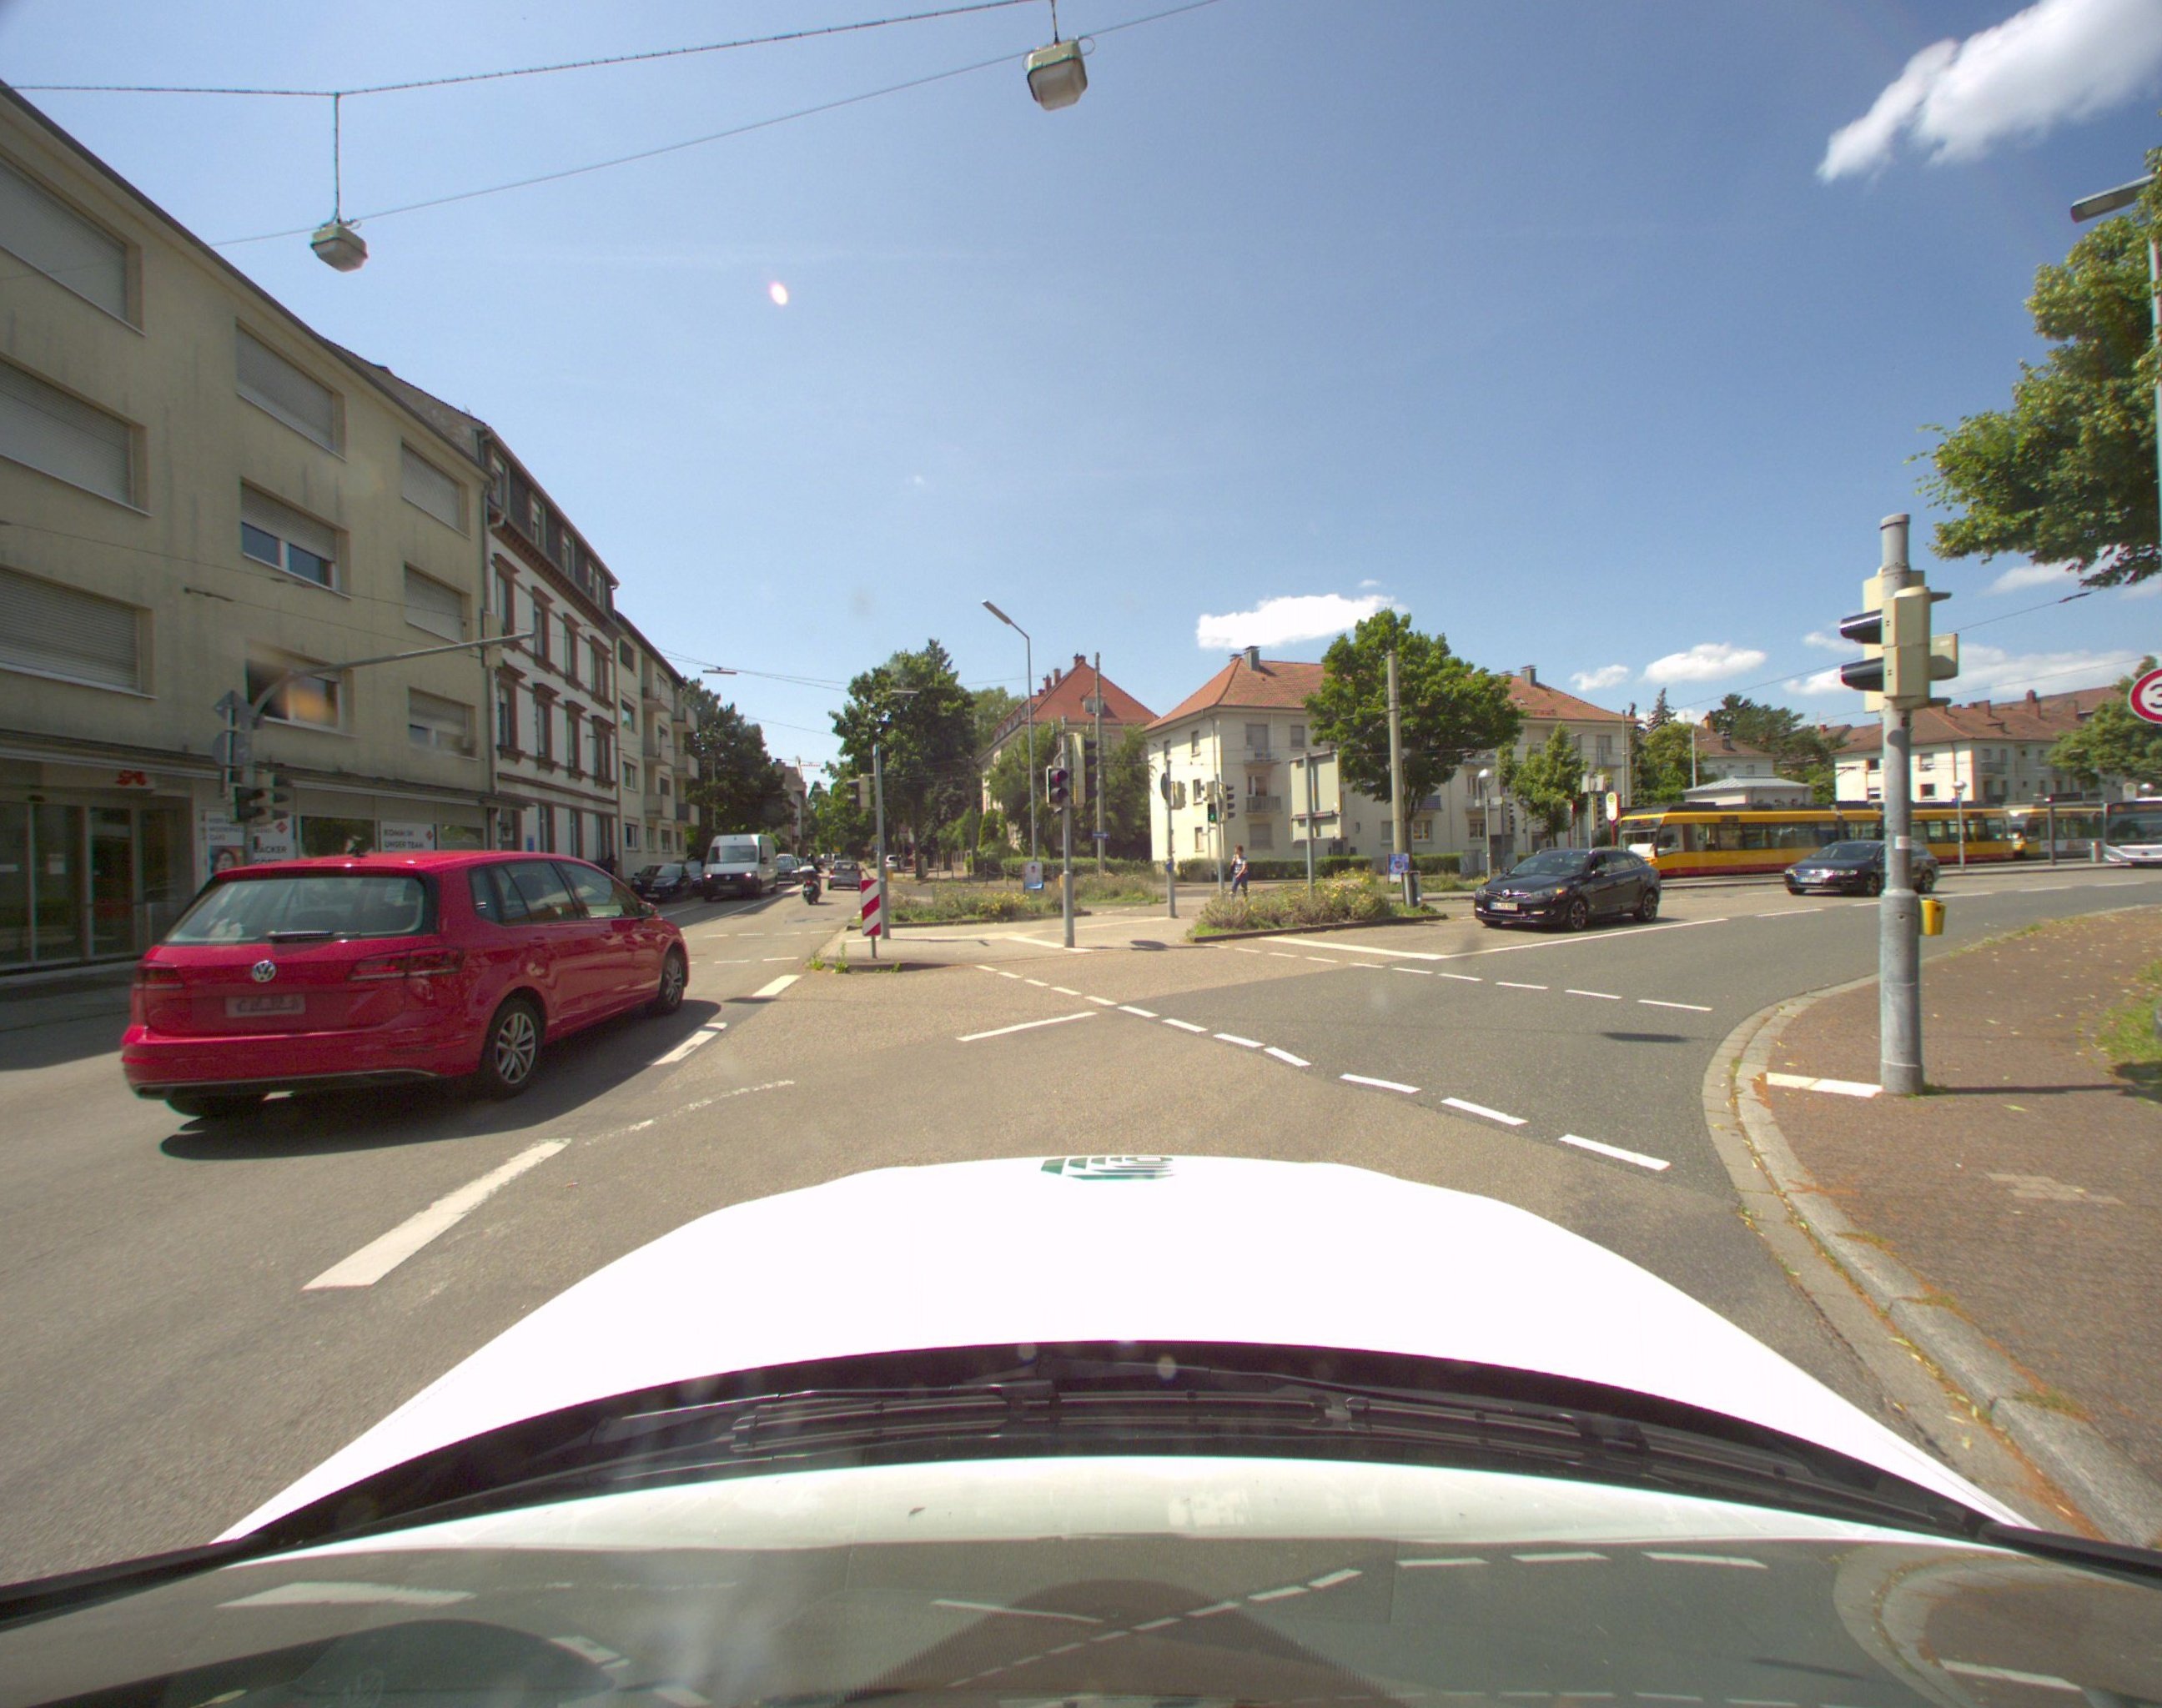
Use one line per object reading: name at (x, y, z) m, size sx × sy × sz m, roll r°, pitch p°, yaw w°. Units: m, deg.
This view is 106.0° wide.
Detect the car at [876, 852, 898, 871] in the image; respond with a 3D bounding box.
car at (-20.362, 0.770, 85.199) m, size 1.998 × 1.906 × 3.977 m, roll -1°, pitch 0°, yaw -17°

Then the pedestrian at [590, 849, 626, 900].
pedestrian at (-18.270, 0.774, 31.467) m, size 0.937 × 1.931 × 0.971 m, roll -1°, pitch 0°, yaw -17°

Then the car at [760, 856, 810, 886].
car at (-17.354, 0.982, 47.933) m, size 1.851 × 1.557 × 4.273 m, roll -3°, pitch 0°, yaw -8°

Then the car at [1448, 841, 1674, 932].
car at (9.400, 0.538, 15.866) m, size 4.441 × 1.500 × 1.980 m, roll -1°, pitch 0°, yaw -32°

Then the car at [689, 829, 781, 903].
car at (-13.889, 0.455, 33.238) m, size 2.220 × 2.501 × 7.515 m, roll -5°, pitch 1°, yaw -15°

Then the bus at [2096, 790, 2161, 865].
bus at (50.601, -1.240, 36.474) m, size 12.008 × 3.129 × 2.721 m, roll -1°, pitch 0°, yaw -20°

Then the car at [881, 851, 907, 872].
car at (-16.649, 0.673, 72.317) m, size 1.998 × 1.807 × 3.977 m, roll -1°, pitch 0°, yaw -17°

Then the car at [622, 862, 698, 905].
car at (-16.372, 1.111, 31.859) m, size 1.999 × 1.519 × 3.975 m, roll 0°, pitch -1°, yaw -18°

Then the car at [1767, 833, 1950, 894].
car at (21.589, 0.239, 22.616) m, size 4.514 × 1.519 × 1.986 m, roll -1°, pitch 0°, yaw -22°

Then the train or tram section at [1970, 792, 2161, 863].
train or tram section at (59.625, -1.617, 48.760) m, size 15.550 × 3.895 × 2.776 m, roll -1°, pitch 0°, yaw -20°

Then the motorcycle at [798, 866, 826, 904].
motorcycle at (-8.670, 0.967, 26.332) m, size 0.712 × 1.134 × 2.186 m, roll -1°, pitch 0°, yaw -15°

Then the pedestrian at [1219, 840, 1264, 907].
pedestrian at (4.181, 0.503, 21.252) m, size 0.841 × 1.705 × 0.755 m, roll -1°, pitch 0°, yaw -32°

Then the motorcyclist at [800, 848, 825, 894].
motorcyclist at (-8.671, 0.538, 26.326) m, size 0.712 × 1.445 × 1.014 m, roll -1°, pitch 0°, yaw -15°

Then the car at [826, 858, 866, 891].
car at (-11.759, 0.975, 40.964) m, size 1.802 × 1.558 × 4.017 m, roll -1°, pitch 0°, yaw -15°

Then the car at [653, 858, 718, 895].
car at (-17.579, 0.991, 36.360) m, size 1.998 × 1.519 × 3.976 m, roll 0°, pitch -1°, yaw -17°

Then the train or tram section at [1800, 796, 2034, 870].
train or tram section at (44.567, -1.177, 43.233) m, size 14.704 × 3.568 × 2.776 m, roll -1°, pitch 0°, yaw -20°

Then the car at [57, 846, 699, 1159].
car at (-4.541, 0.751, 6.233) m, size 1.798 × 1.558 × 4.026 m, roll 0°, pitch 0°, yaw -8°

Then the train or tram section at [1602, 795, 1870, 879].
train or tram section at (31.003, -0.855, 38.339) m, size 14.180 × 3.568 × 2.800 m, roll -1°, pitch 0°, yaw -20°
